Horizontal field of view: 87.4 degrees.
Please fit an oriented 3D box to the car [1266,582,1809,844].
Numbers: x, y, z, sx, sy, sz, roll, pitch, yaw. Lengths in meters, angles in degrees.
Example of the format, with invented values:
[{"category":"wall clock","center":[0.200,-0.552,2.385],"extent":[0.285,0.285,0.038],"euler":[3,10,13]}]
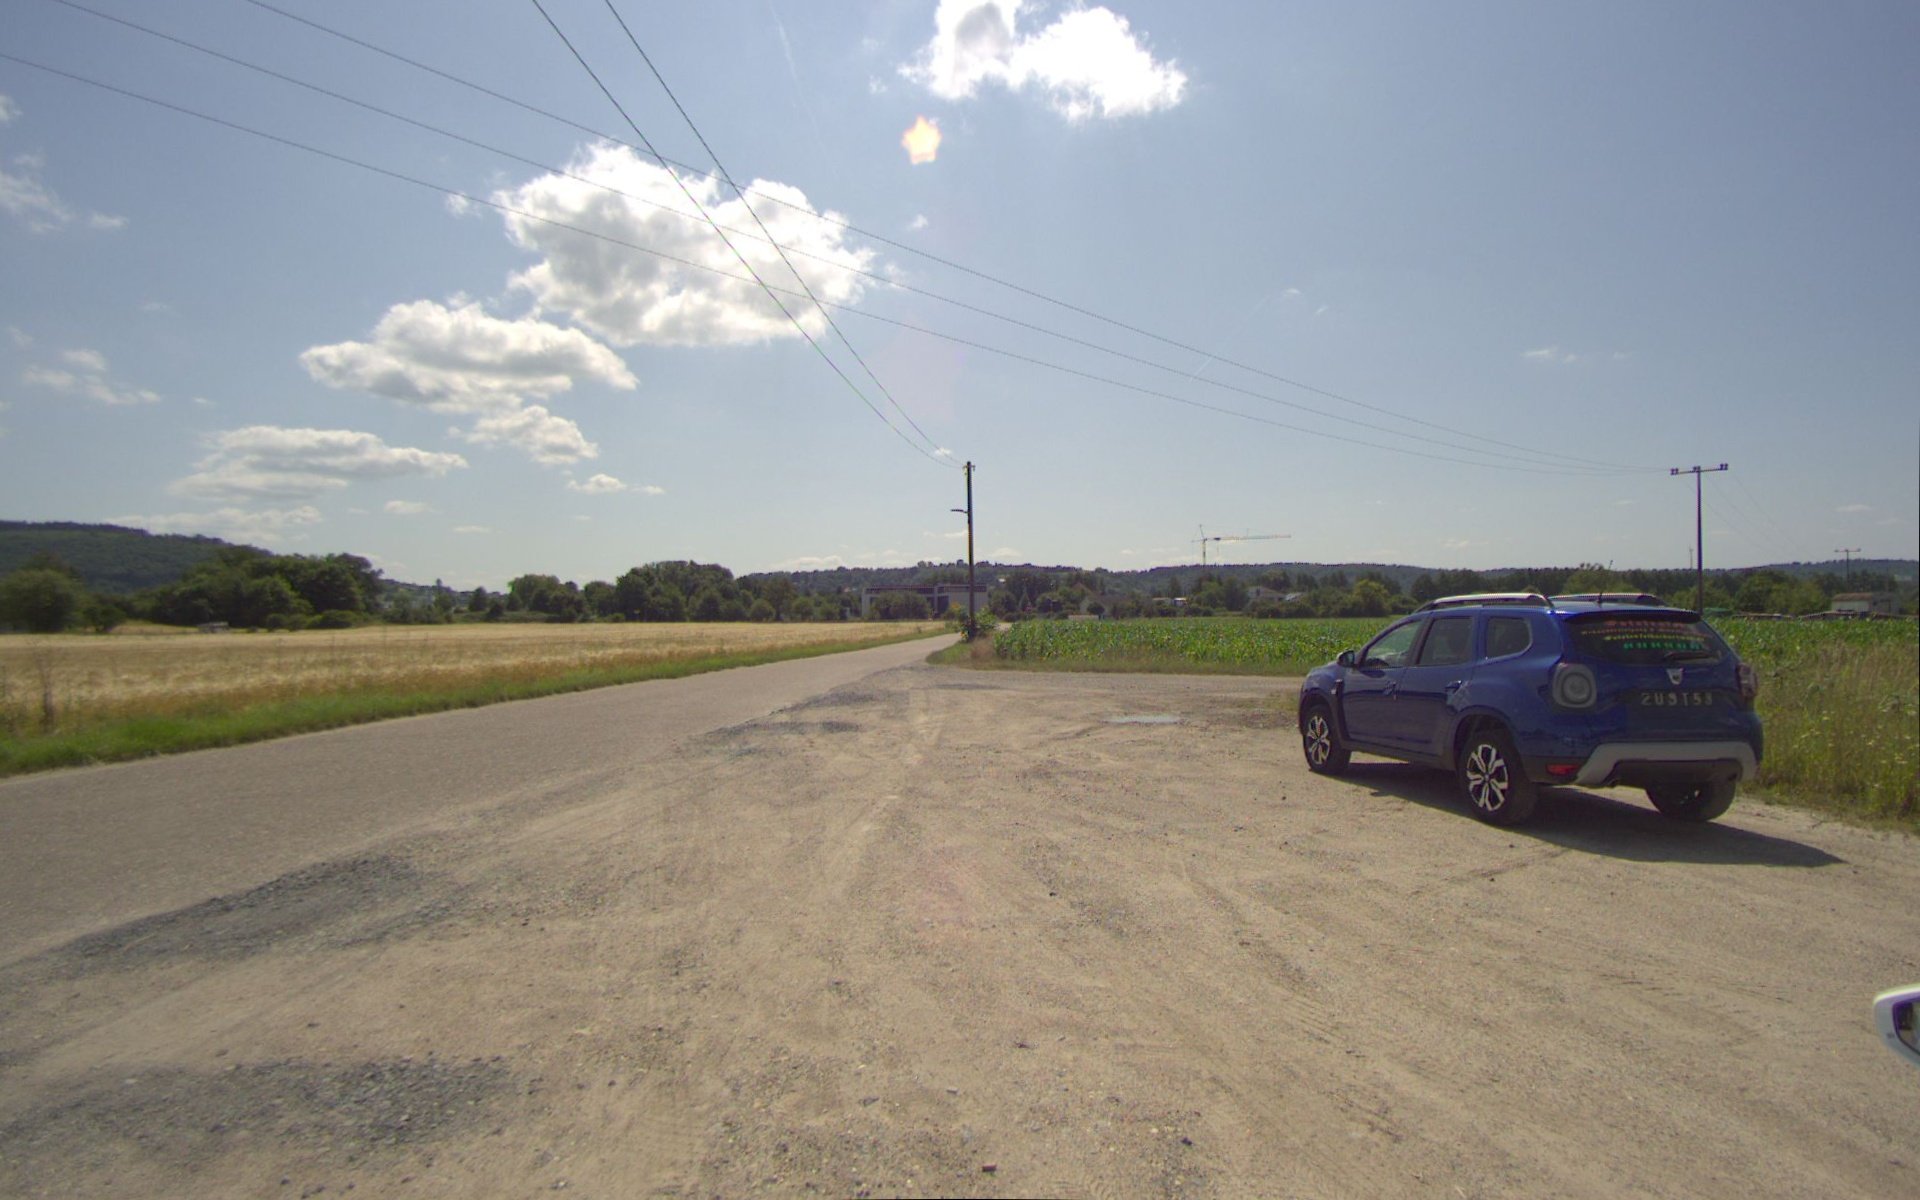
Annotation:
[{"category":"car","center":[4.485,0.802,8.802],"extent":[1.830,1.683,4.454],"euler":[0,-2,-7]}]
